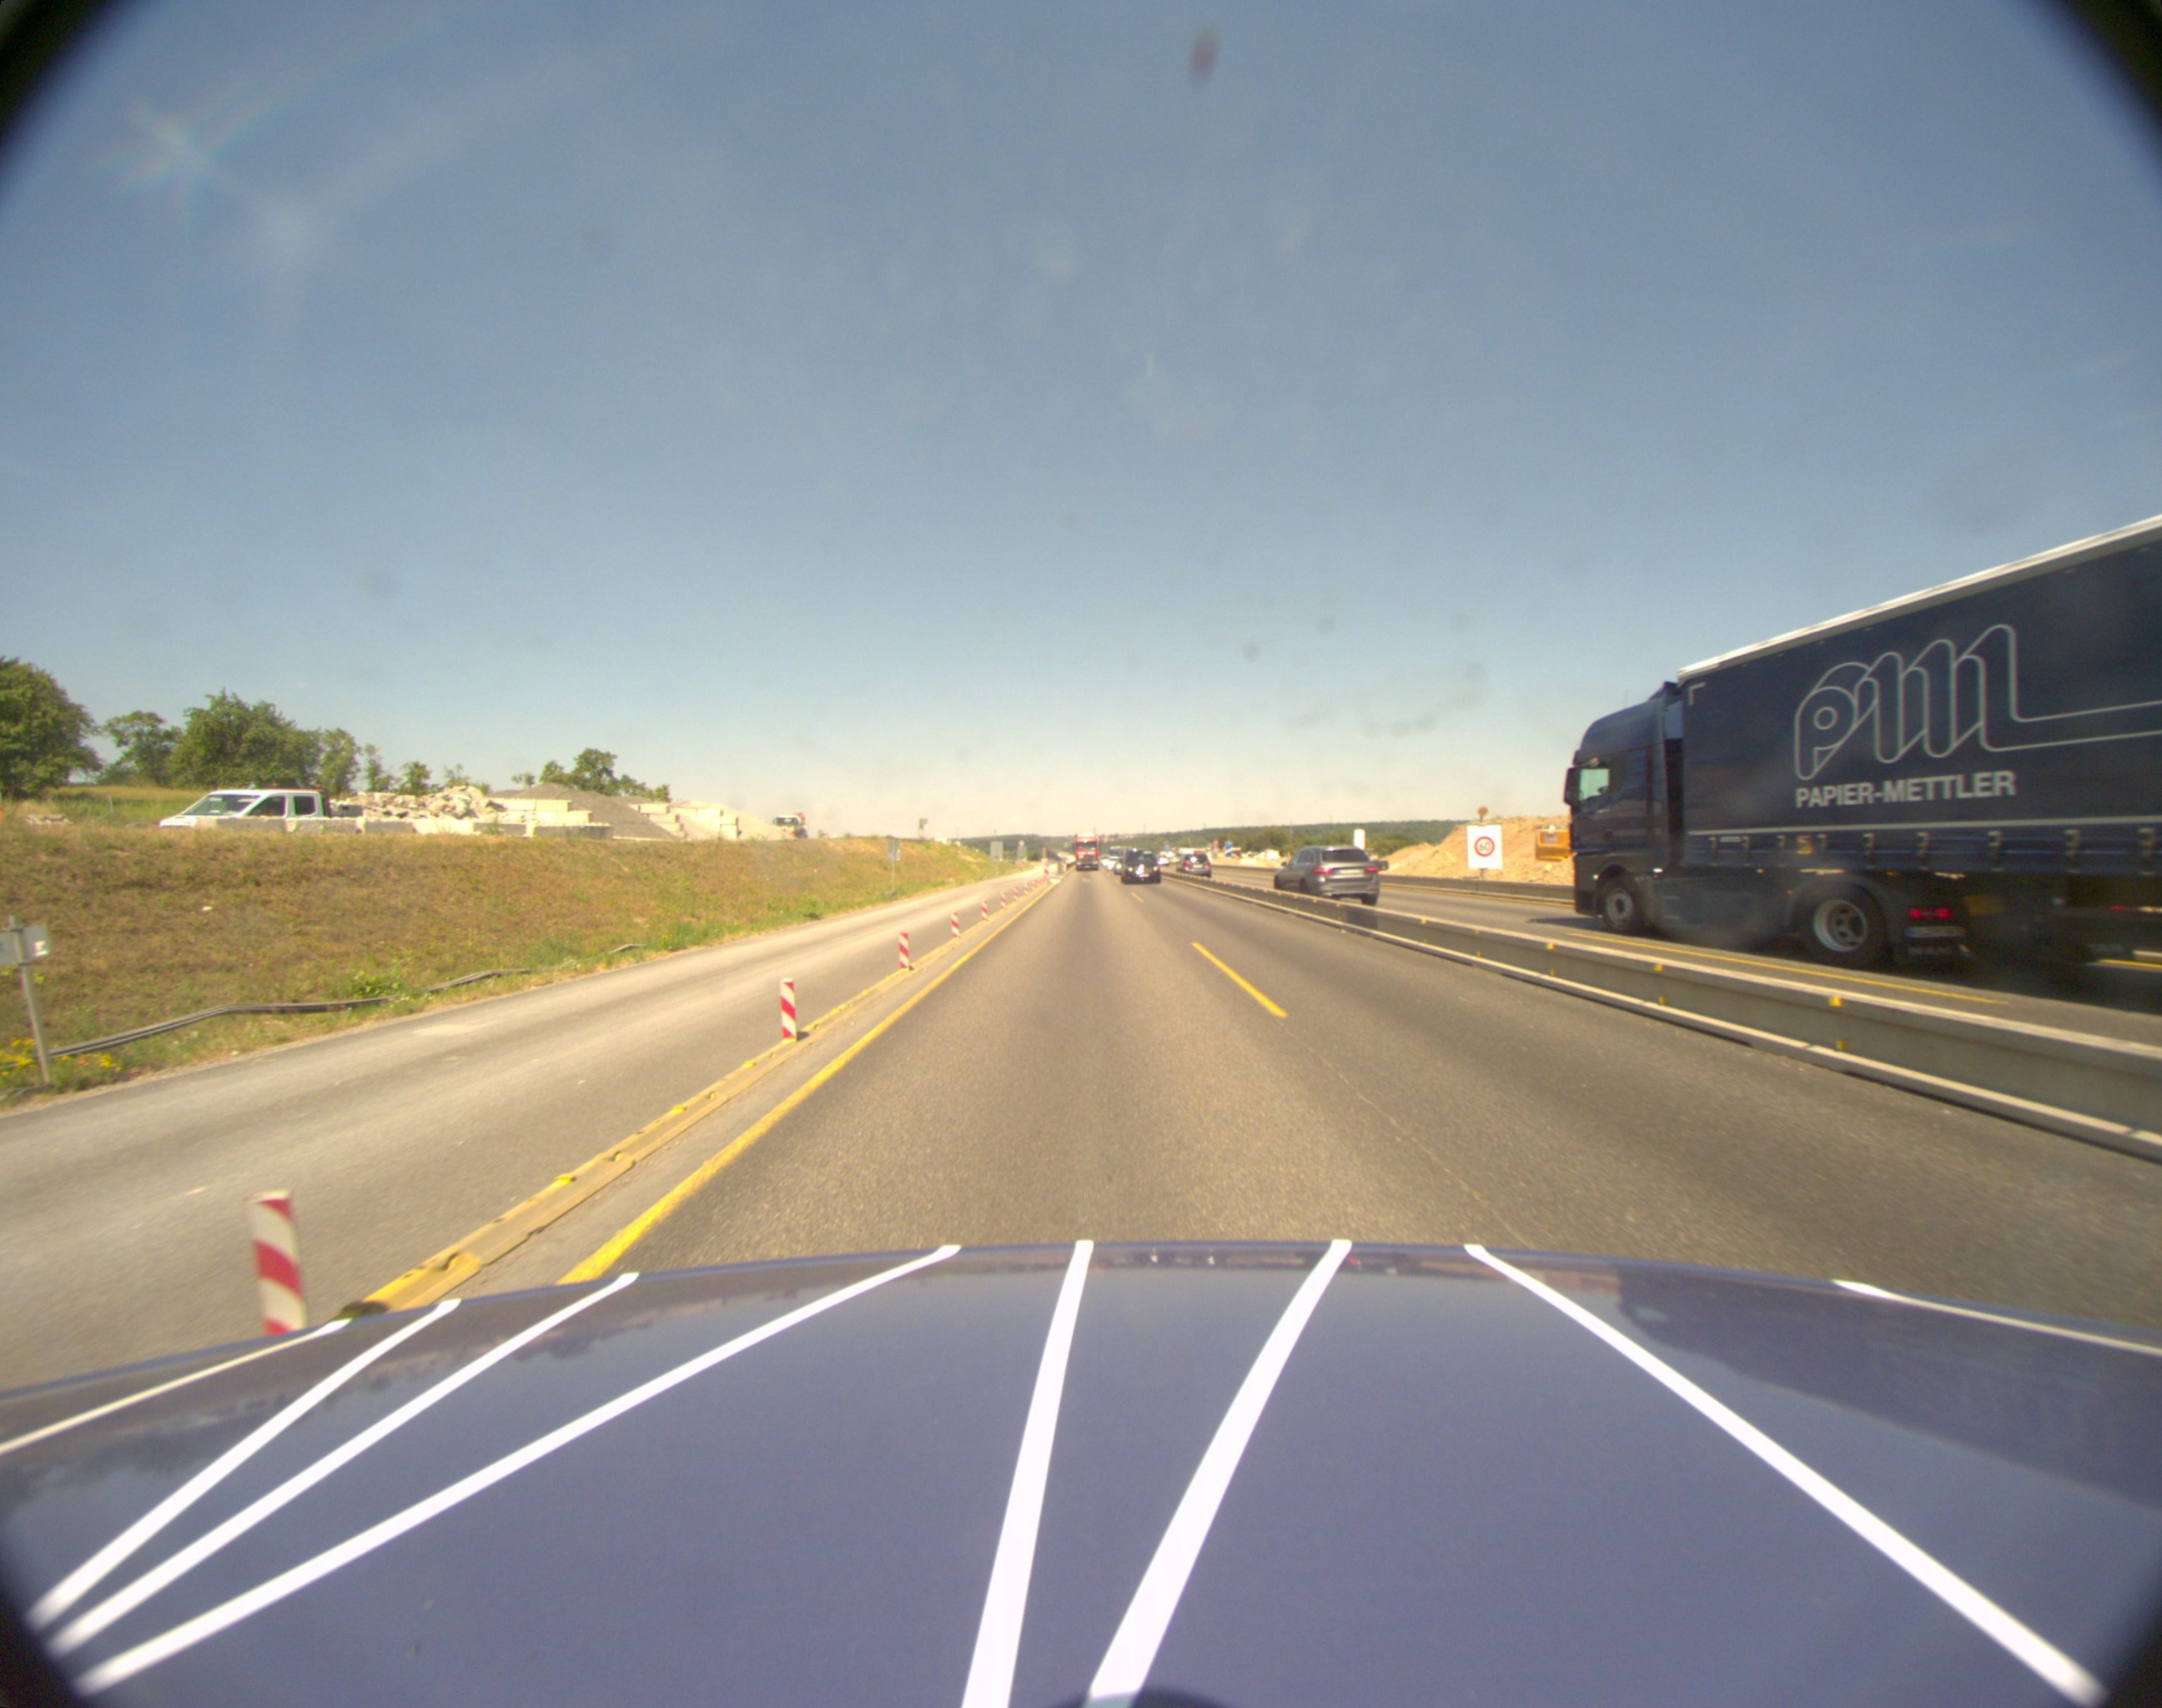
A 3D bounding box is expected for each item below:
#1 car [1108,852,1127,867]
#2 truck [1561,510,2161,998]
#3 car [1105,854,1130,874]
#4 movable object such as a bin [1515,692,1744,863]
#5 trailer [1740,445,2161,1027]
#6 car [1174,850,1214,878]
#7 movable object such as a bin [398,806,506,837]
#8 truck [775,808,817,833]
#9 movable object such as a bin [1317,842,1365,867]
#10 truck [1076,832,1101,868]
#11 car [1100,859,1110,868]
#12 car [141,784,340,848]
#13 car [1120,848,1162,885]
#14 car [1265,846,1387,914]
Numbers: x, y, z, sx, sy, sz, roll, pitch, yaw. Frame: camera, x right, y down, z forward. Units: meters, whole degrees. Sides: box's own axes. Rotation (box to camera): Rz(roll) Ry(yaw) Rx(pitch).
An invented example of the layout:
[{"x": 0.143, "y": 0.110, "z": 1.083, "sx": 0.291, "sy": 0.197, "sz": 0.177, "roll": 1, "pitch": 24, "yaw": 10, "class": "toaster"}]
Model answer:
[{"x": 3.853, "y": 0.567, "z": 81.191, "sx": 1.875, "sy": 1.390, "sz": 4.030, "roll": -2, "pitch": 1, "yaw": 1, "class": "car"}, {"x": 10.078, "y": -1.001, "z": 10.442, "sx": 2.972, "sy": 4.625, "sz": 6.243, "roll": -2, "pitch": 1, "yaw": 1, "class": "truck"}, {"x": 2.942, "y": 0.783, "z": 62.052, "sx": 1.804, "sy": 1.499, "sz": 4.100, "roll": -2, "pitch": 0, "yaw": 0, "class": "car"}, {"x": 24.838, "y": -3.317, "z": 34.817, "sx": 7.378, "sy": 7.073, "sz": 4.081, "roll": -2, "pitch": 1, "yaw": 1, "class": "movable object such as a bin"}, {"x": 9.958, "y": -0.933, "z": 3.353, "sx": 2.993, "sy": 4.569, "sz": 12.882, "roll": -2, "pitch": 1, "yaw": 1, "class": "trailer"}, {"x": 6.853, "y": 0.600, "z": 46.413, "sx": 1.770, "sy": 1.556, "sz": 4.226, "roll": -2, "pitch": 0, "yaw": 1, "class": "car"}, {"x": -16.052, "y": -0.817, "z": 19.491, "sx": 0.838, "sy": 0.678, "sz": 2.249, "roll": -2, "pitch": 1, "yaw": 1, "class": "movable object such as a bin"}, {"x": -36.146, "y": -4.158, "z": 96.770, "sx": 2.223, "sy": 2.803, "sz": 9.061, "roll": -2, "pitch": 1, "yaw": -2, "class": "truck"}, {"x": 24.103, "y": 0.026, "z": 70.658, "sx": 2.321, "sy": 2.121, "sz": 6.143, "roll": -2, "pitch": 1, "yaw": 1, "class": "movable object such as a bin"}, {"x": 0.898, "y": -0.464, "z": 85.534, "sx": 2.537, "sy": 3.798, "sz": 9.481, "roll": -2, "pitch": 1, "yaw": 2, "class": "truck"}, {"x": 3.986, "y": 1.511, "z": 125.824, "sx": 1.601, "sy": 1.390, "sz": 3.695, "roll": -2, "pitch": 1, "yaw": 1, "class": "car"}, {"x": -25.623, "y": -1.098, "z": 23.380, "sx": 1.990, "sy": 1.752, "sz": 3.601, "roll": -2, "pitch": 1, "yaw": 0, "class": "car"}, {"x": 3.236, "y": 0.624, "z": 41.850, "sx": 1.878, "sy": 1.840, "sz": 5.478, "roll": -2, "pitch": 1, "yaw": 1, "class": "car"}, {"x": 6.721, "y": 0.622, "z": 21.424, "sx": 1.873, "sy": 1.620, "sz": 4.885, "roll": -2, "pitch": 1, "yaw": 1, "class": "car"}]
